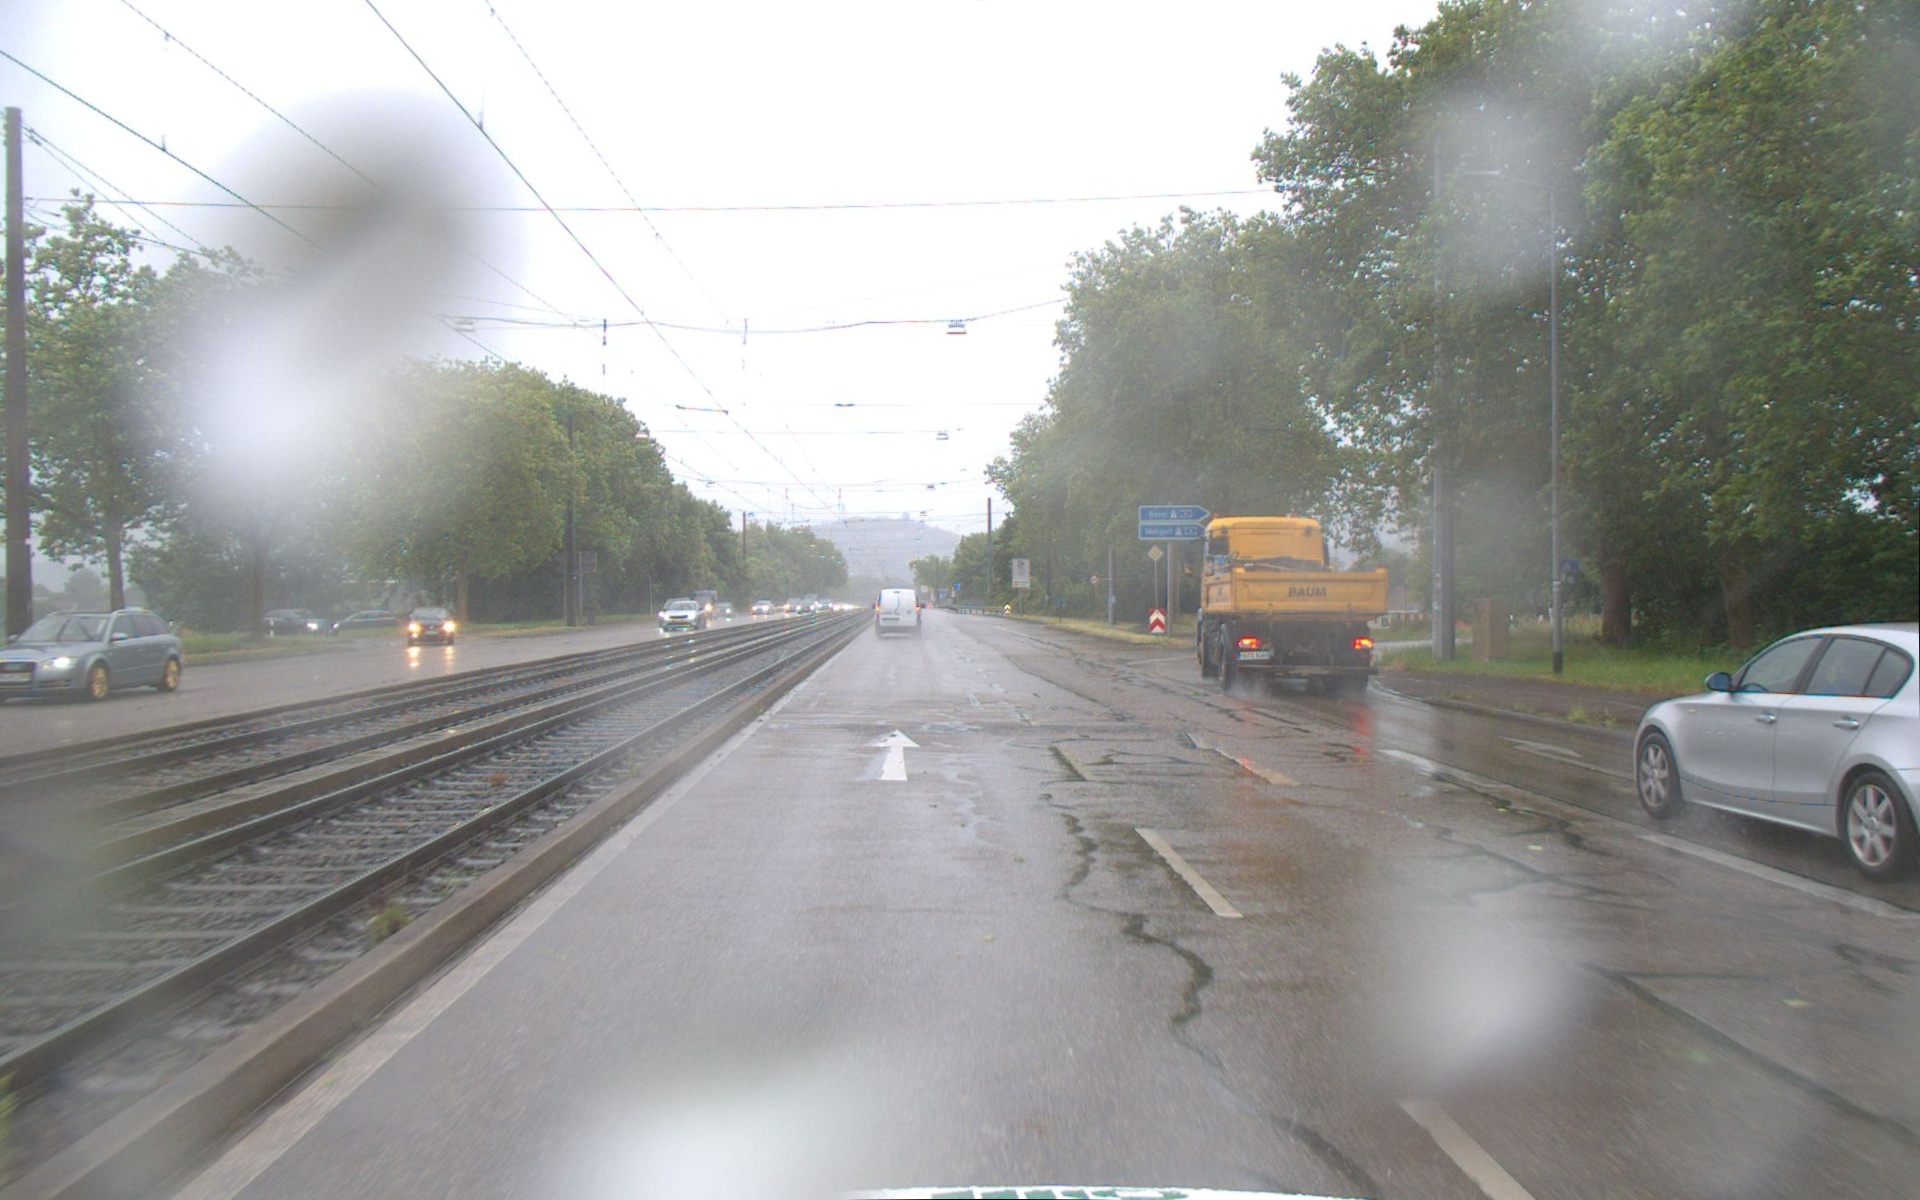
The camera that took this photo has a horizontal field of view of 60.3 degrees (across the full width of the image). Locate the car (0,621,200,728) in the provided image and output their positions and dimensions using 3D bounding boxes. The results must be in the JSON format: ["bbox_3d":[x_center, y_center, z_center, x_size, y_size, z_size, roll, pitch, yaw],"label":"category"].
[{"bbox_3d":[-14.208,1.117,26.631,1.722,1.386,5.070,1,1,-2],"label":"car"}]

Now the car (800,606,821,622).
[{"bbox_3d":[-15.740,1.441,174.066,1.754,1.576,5.313,1,1,-1],"label":"car"}]

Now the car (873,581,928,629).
[{"bbox_3d":[-2.228,0.151,62.519,1.949,1.713,3.739,1,1,-1],"label":"car"}]

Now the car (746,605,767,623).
[{"bbox_3d":[-21.711,1.473,176.749,1.783,1.735,5.019,1,1,-2],"label":"car"}]

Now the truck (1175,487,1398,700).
[{"bbox_3d":[5.594,-0.171,29.515,2.503,3.314,6.932,1,1,-1],"label":"truck"}]

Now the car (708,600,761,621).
[{"bbox_3d":[-20.396,0.942,149.823,2.049,1.829,4.744,2,1,37],"label":"car"}]

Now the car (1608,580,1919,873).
[{"bbox_3d":[5.863,0.670,10.455,1.593,1.529,4.605,1,1,-2],"label":"car"}]

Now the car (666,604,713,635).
[{"bbox_3d":[-13.474,0.953,82.498,1.706,1.377,4.544,1,1,-2],"label":"car"}]

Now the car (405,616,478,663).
[{"bbox_3d":[-19.593,1.473,62.602,1.655,1.579,3.998,1,1,-3],"label":"car"}]

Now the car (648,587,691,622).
[{"bbox_3d":[-16.532,0.240,94.393,1.850,1.841,5.001,1,1,-4],"label":"car"}]

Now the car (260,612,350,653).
[{"bbox_3d":[-30.672,1.516,77.447,4.559,1.716,1.839,2,1,37],"label":"car"}]

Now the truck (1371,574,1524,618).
[{"bbox_3d":[56.151,-0.377,190.868,16.405,4.231,3.286,-3,-1,29],"label":"truck"}]
